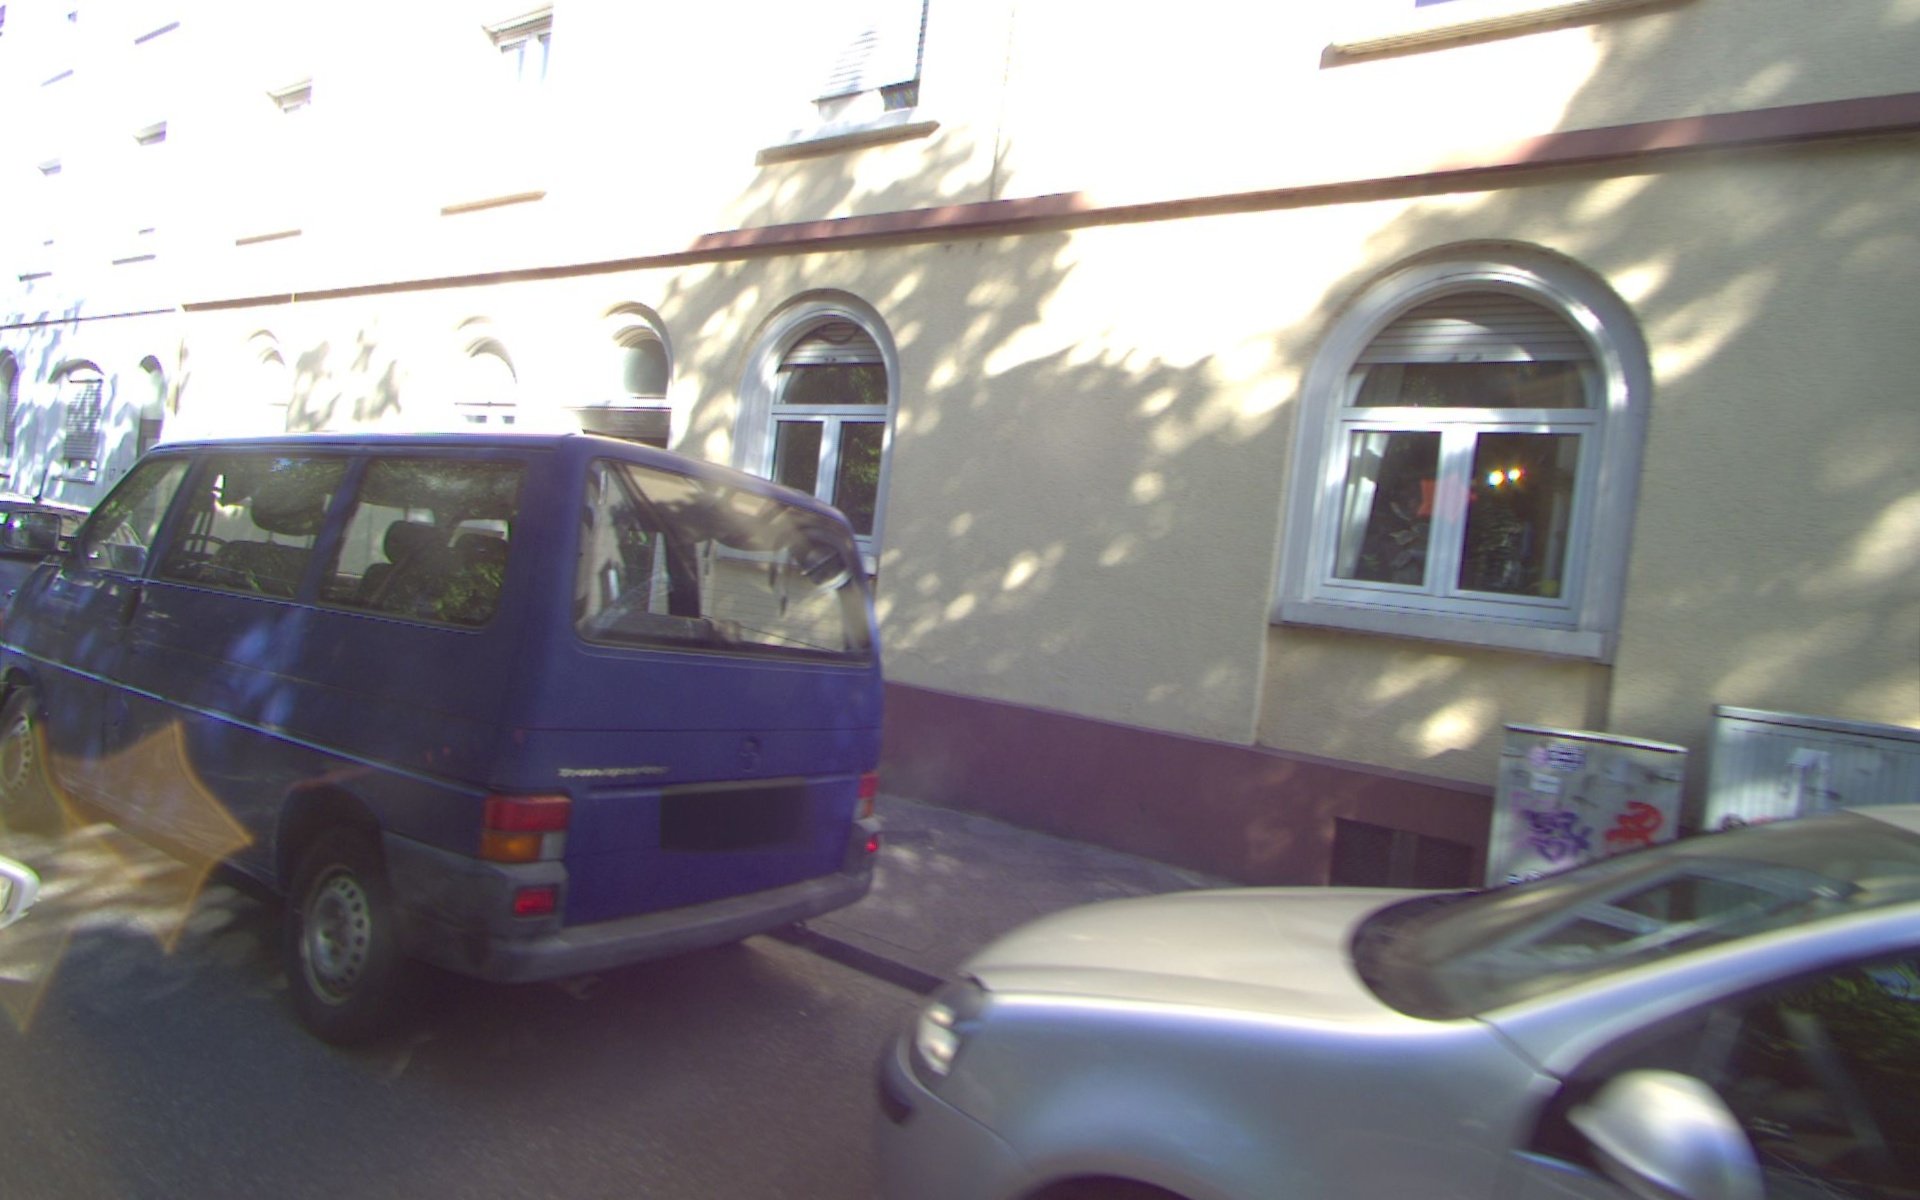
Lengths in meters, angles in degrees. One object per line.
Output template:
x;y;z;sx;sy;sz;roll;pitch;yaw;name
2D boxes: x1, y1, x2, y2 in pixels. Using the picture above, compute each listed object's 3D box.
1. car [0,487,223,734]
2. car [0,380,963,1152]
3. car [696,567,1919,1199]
-7.305;-0.088;7.406;3.533;1.517;1.624;7;1;29;car
-2.608;0.228;4.575;4.765;1.924;1.951;7;1;32;car
1.758;0.976;1.620;4.167;1.519;1.764;7;1;31;car
